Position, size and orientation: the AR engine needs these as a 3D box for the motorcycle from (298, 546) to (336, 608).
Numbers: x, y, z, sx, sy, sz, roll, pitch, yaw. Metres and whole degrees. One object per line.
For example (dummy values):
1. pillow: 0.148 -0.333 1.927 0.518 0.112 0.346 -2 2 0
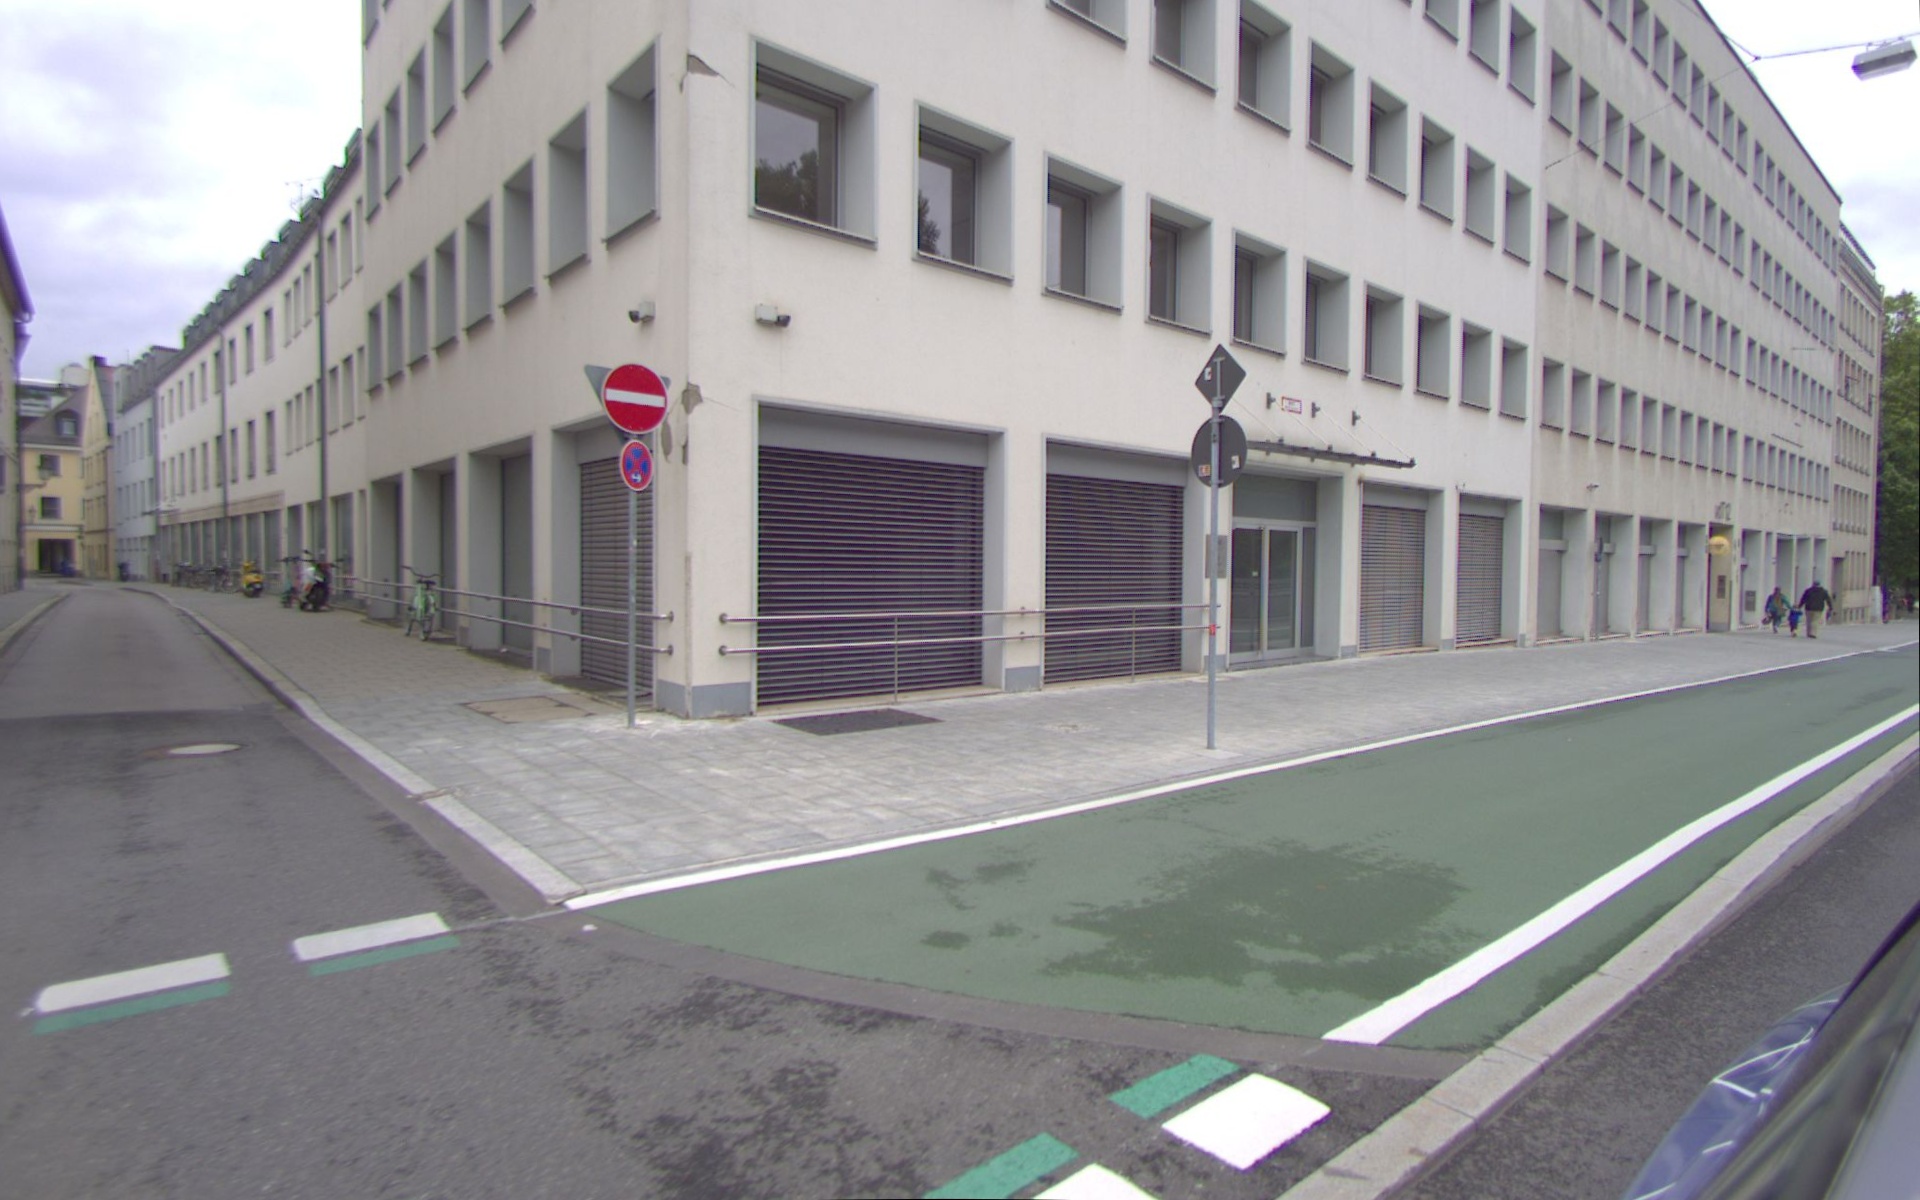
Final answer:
1. motorcycle: -15.356 -0.552 24.136 0.715 1.398 2.706 0 2 -34

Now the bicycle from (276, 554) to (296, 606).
1. bicycle: -17.156 -0.486 25.749 0.397 1.272 1.776 0 0 -34

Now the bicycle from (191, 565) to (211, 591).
1. bicycle: -30.577 -0.889 40.755 1.769 1.029 0.305 1 1 42

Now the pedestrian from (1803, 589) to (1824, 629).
1. pedestrian: 28.010 0.301 33.217 0.461 1.261 0.368 0 5 -40

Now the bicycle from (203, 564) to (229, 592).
1. bicycle: -27.787 -0.809 37.811 1.768 1.029 0.399 1 1 41

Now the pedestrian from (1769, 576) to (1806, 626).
1. pedestrian: 28.668 0.030 35.065 0.691 1.638 0.754 0 5 -40

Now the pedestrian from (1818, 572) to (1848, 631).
1. pedestrian: 28.421 0.052 32.950 0.591 1.857 0.514 0 5 -40

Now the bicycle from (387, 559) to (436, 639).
1. bicycle: -8.804 -0.032 16.216 0.304 1.222 1.772 0 1 -41

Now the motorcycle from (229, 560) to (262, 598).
1. motorcycle: -23.128 -0.692 32.753 0.619 1.208 2.539 0 2 -41

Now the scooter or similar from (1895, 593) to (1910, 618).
1. scooter or similar: 50.296 0.283 54.005 1.100 1.288 0.387 -2 4 -41
